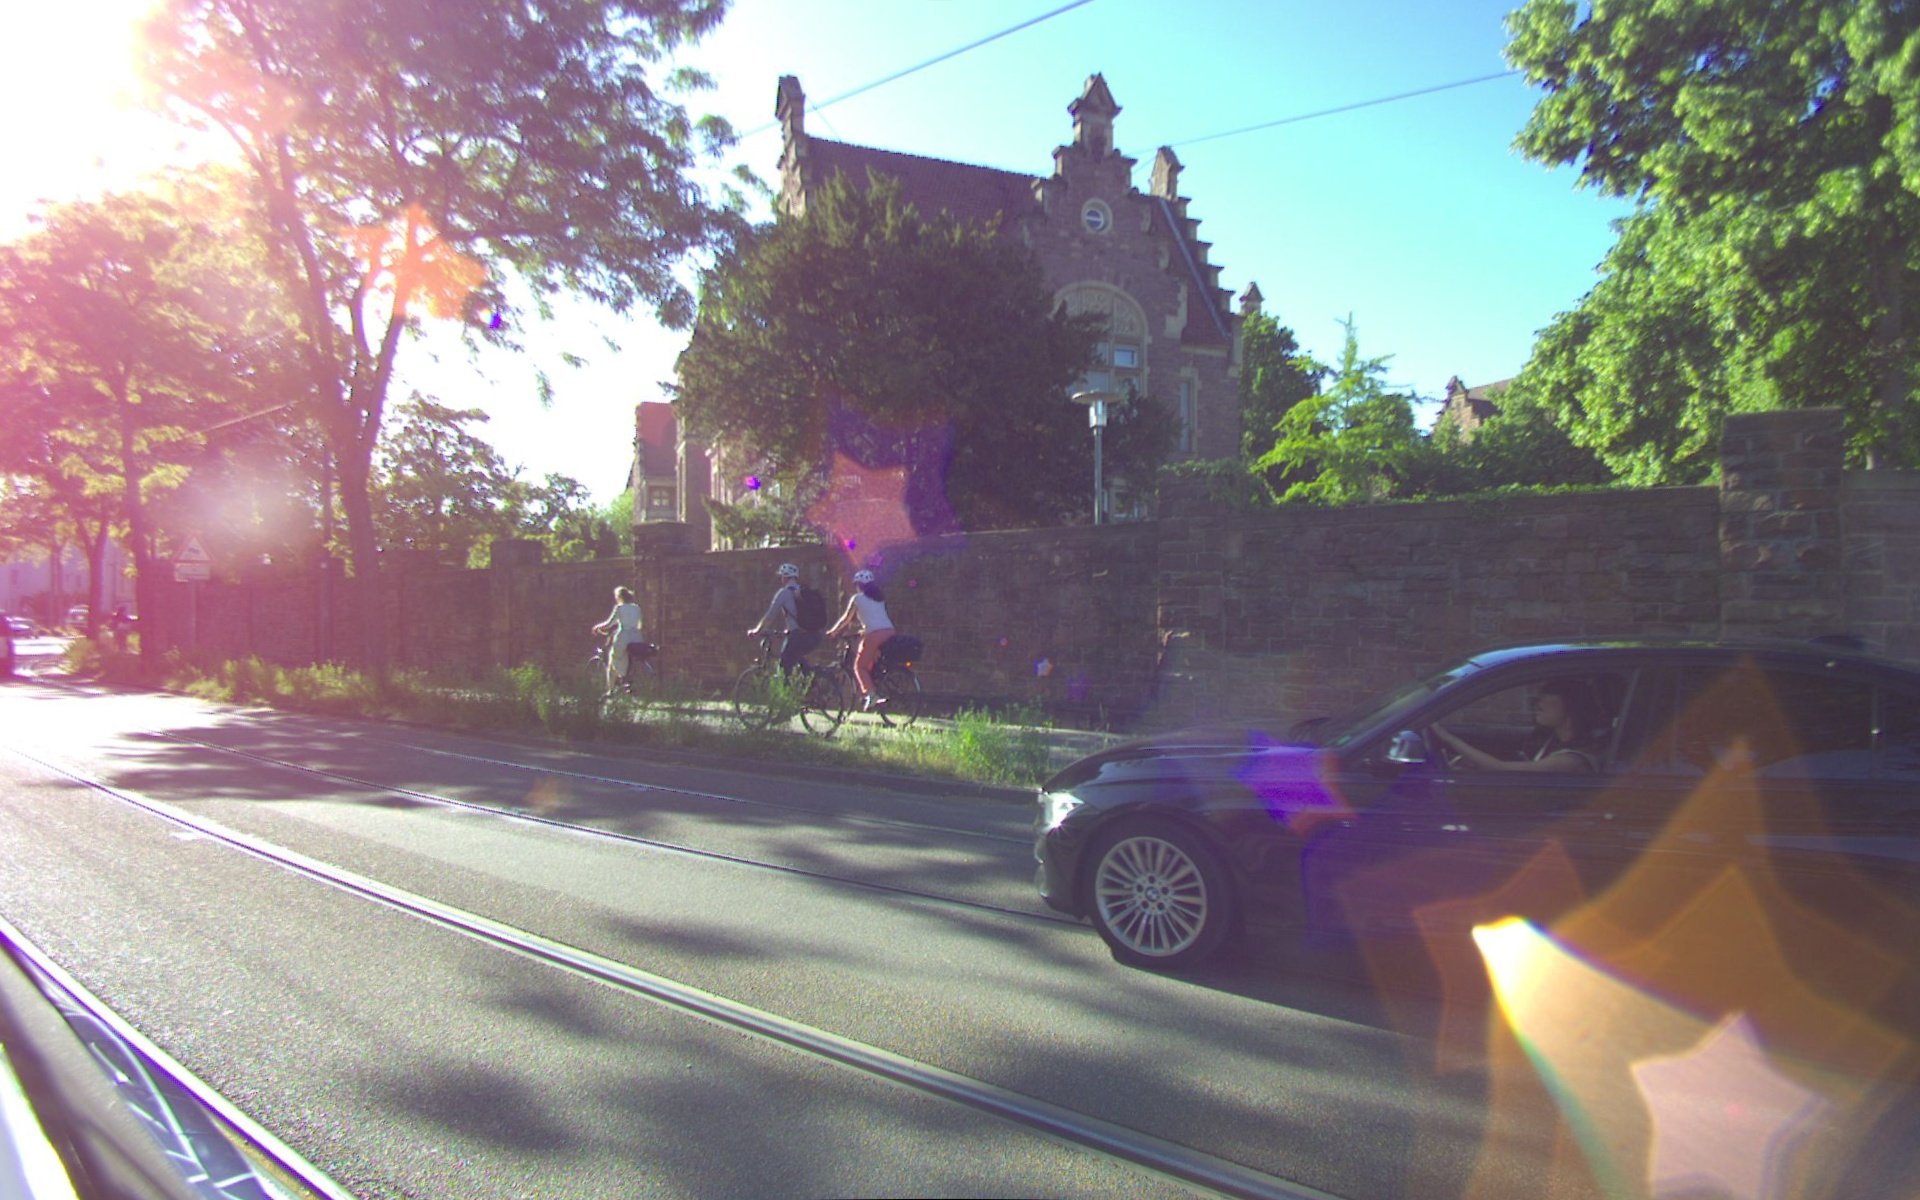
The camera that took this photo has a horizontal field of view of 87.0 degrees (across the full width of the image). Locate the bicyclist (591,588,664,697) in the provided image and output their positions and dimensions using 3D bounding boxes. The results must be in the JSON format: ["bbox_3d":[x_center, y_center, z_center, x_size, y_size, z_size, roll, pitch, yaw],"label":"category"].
[{"bbox_3d":[-4.914,0.602,14.941,0.751,1.546,0.734,-1,0,41],"label":"bicyclist"}]

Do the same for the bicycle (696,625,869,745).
[{"bbox_3d":[-2.037,0.898,11.394,2.102,1.200,0.764,-1,0,41],"label":"bicycle"}]

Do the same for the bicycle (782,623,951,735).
[{"bbox_3d":[-1.140,0.883,12.007,2.086,1.200,0.724,-1,0,39],"label":"bicycle"}]

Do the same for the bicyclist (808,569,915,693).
[{"bbox_3d":[-1.175,0.356,12.035,1.060,1.401,0.724,-1,0,39],"label":"bicyclist"}]

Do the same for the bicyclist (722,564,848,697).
[{"bbox_3d":[-1.969,0.321,11.335,1.271,1.401,0.758,-1,0,41],"label":"bicyclist"}]

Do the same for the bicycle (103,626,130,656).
[{"bbox_3d":[-33.374,1.591,40.038,0.674,1.121,1.740,-1,0,-35],"label":"bicycle"}]

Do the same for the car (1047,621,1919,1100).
[{"bbox_3d":[2.648,0.820,4.183,4.237,1.433,1.725,-1,-1,26],"label":"car"}]

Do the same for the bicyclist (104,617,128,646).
[{"bbox_3d":[-33.395,1.235,40.066,0.674,1.121,0.695,-1,0,-35],"label":"bicyclist"}]

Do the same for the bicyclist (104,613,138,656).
[{"bbox_3d":[-25.897,1.044,31.247,0.871,1.294,0.676,-1,0,41],"label":"bicyclist"}]

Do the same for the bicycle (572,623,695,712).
[{"bbox_3d":[-4.819,0.947,14.856,2.087,1.200,0.737,-1,0,41],"label":"bicycle"}]

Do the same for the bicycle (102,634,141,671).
[{"bbox_3d":[-25.900,1.605,31.254,1.735,1.086,0.676,-1,0,41],"label":"bicycle"}]

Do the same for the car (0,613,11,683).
[{"bbox_3d":[-26.911,1.261,27.161,4.000,1.824,1.807,-1,-1,43],"label":"car"}]
